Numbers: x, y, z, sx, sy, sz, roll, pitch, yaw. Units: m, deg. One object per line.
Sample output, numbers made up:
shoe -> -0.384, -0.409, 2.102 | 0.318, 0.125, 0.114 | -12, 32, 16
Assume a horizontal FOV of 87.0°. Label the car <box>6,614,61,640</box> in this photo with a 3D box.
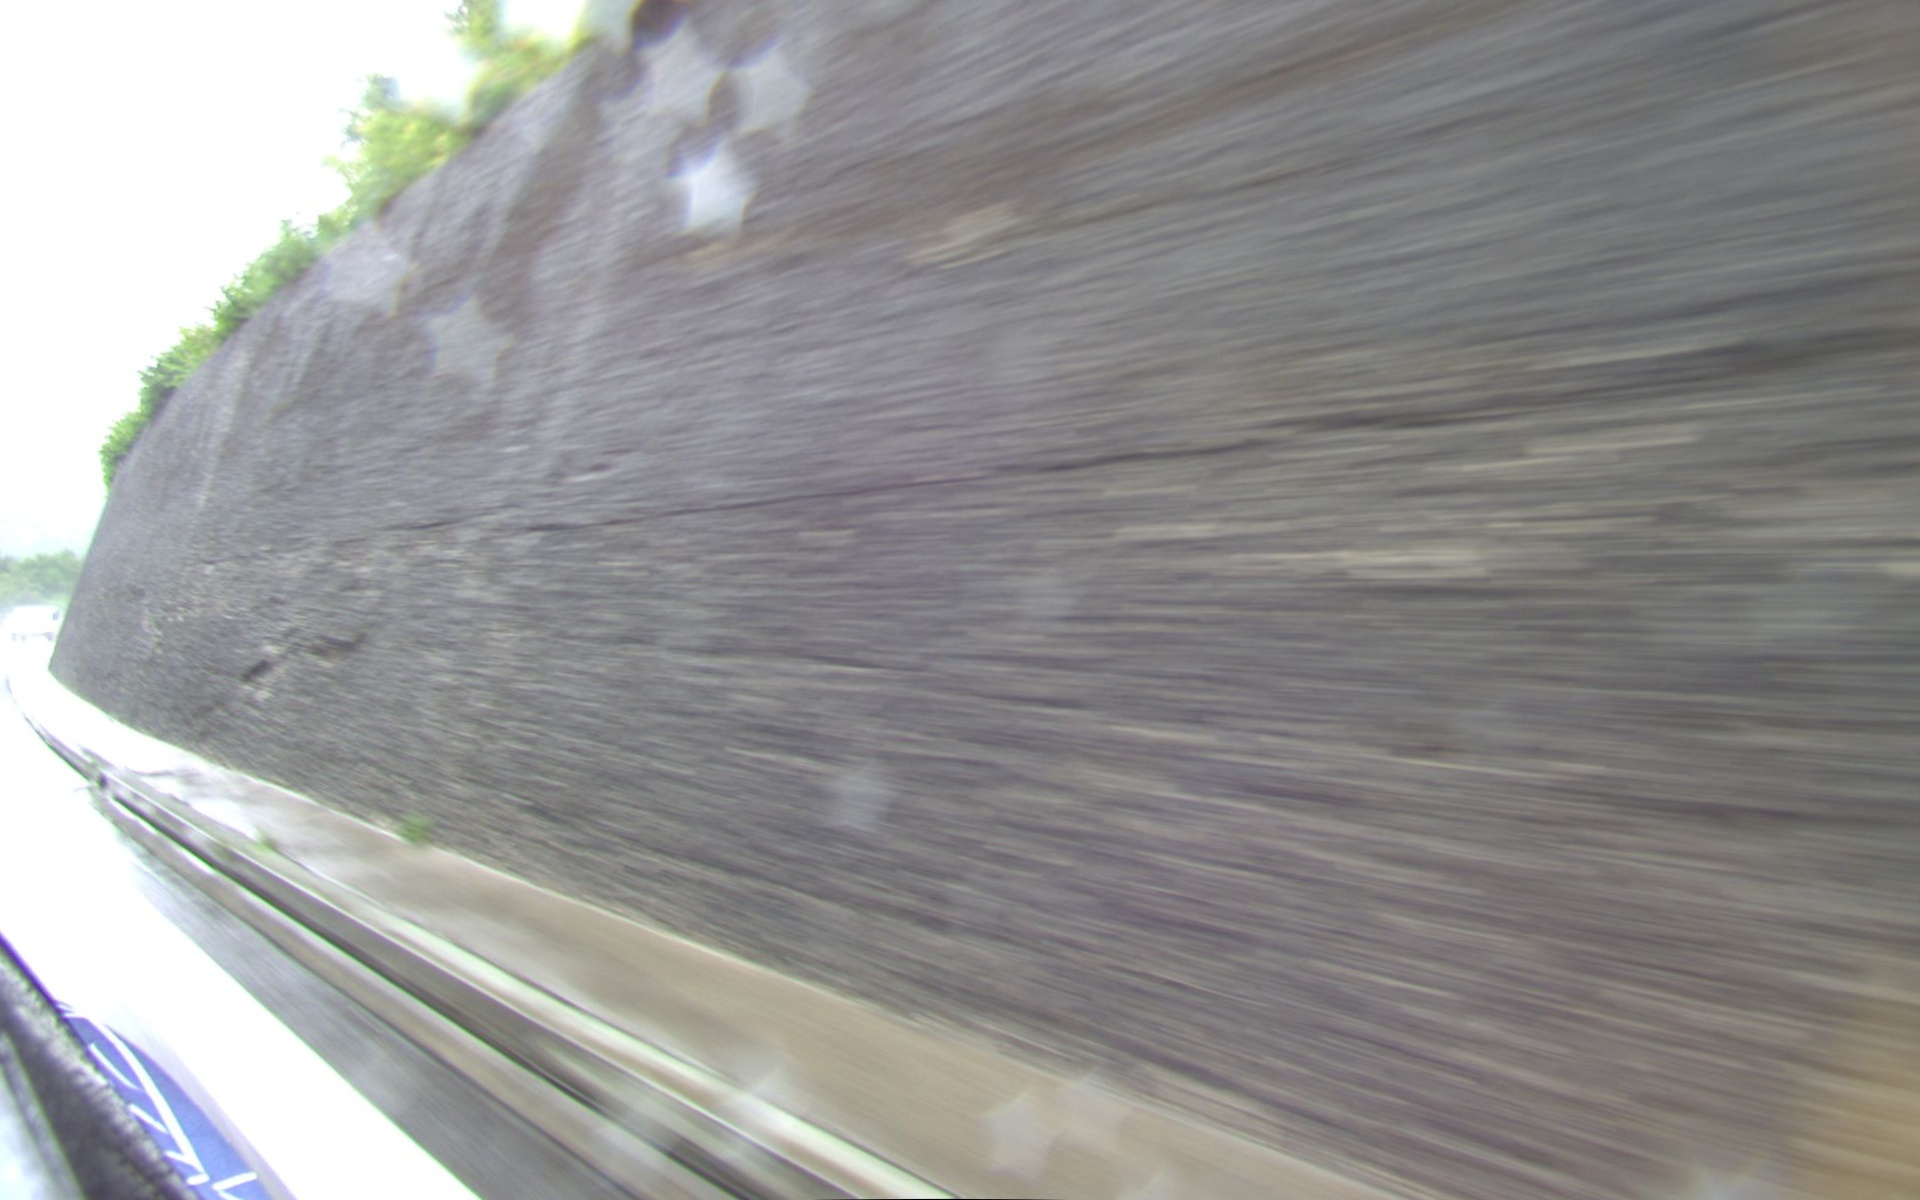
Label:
car -> -54.662, 1.545, 59.769 | 1.798, 1.393, 4.010 | -3, 1, -35
